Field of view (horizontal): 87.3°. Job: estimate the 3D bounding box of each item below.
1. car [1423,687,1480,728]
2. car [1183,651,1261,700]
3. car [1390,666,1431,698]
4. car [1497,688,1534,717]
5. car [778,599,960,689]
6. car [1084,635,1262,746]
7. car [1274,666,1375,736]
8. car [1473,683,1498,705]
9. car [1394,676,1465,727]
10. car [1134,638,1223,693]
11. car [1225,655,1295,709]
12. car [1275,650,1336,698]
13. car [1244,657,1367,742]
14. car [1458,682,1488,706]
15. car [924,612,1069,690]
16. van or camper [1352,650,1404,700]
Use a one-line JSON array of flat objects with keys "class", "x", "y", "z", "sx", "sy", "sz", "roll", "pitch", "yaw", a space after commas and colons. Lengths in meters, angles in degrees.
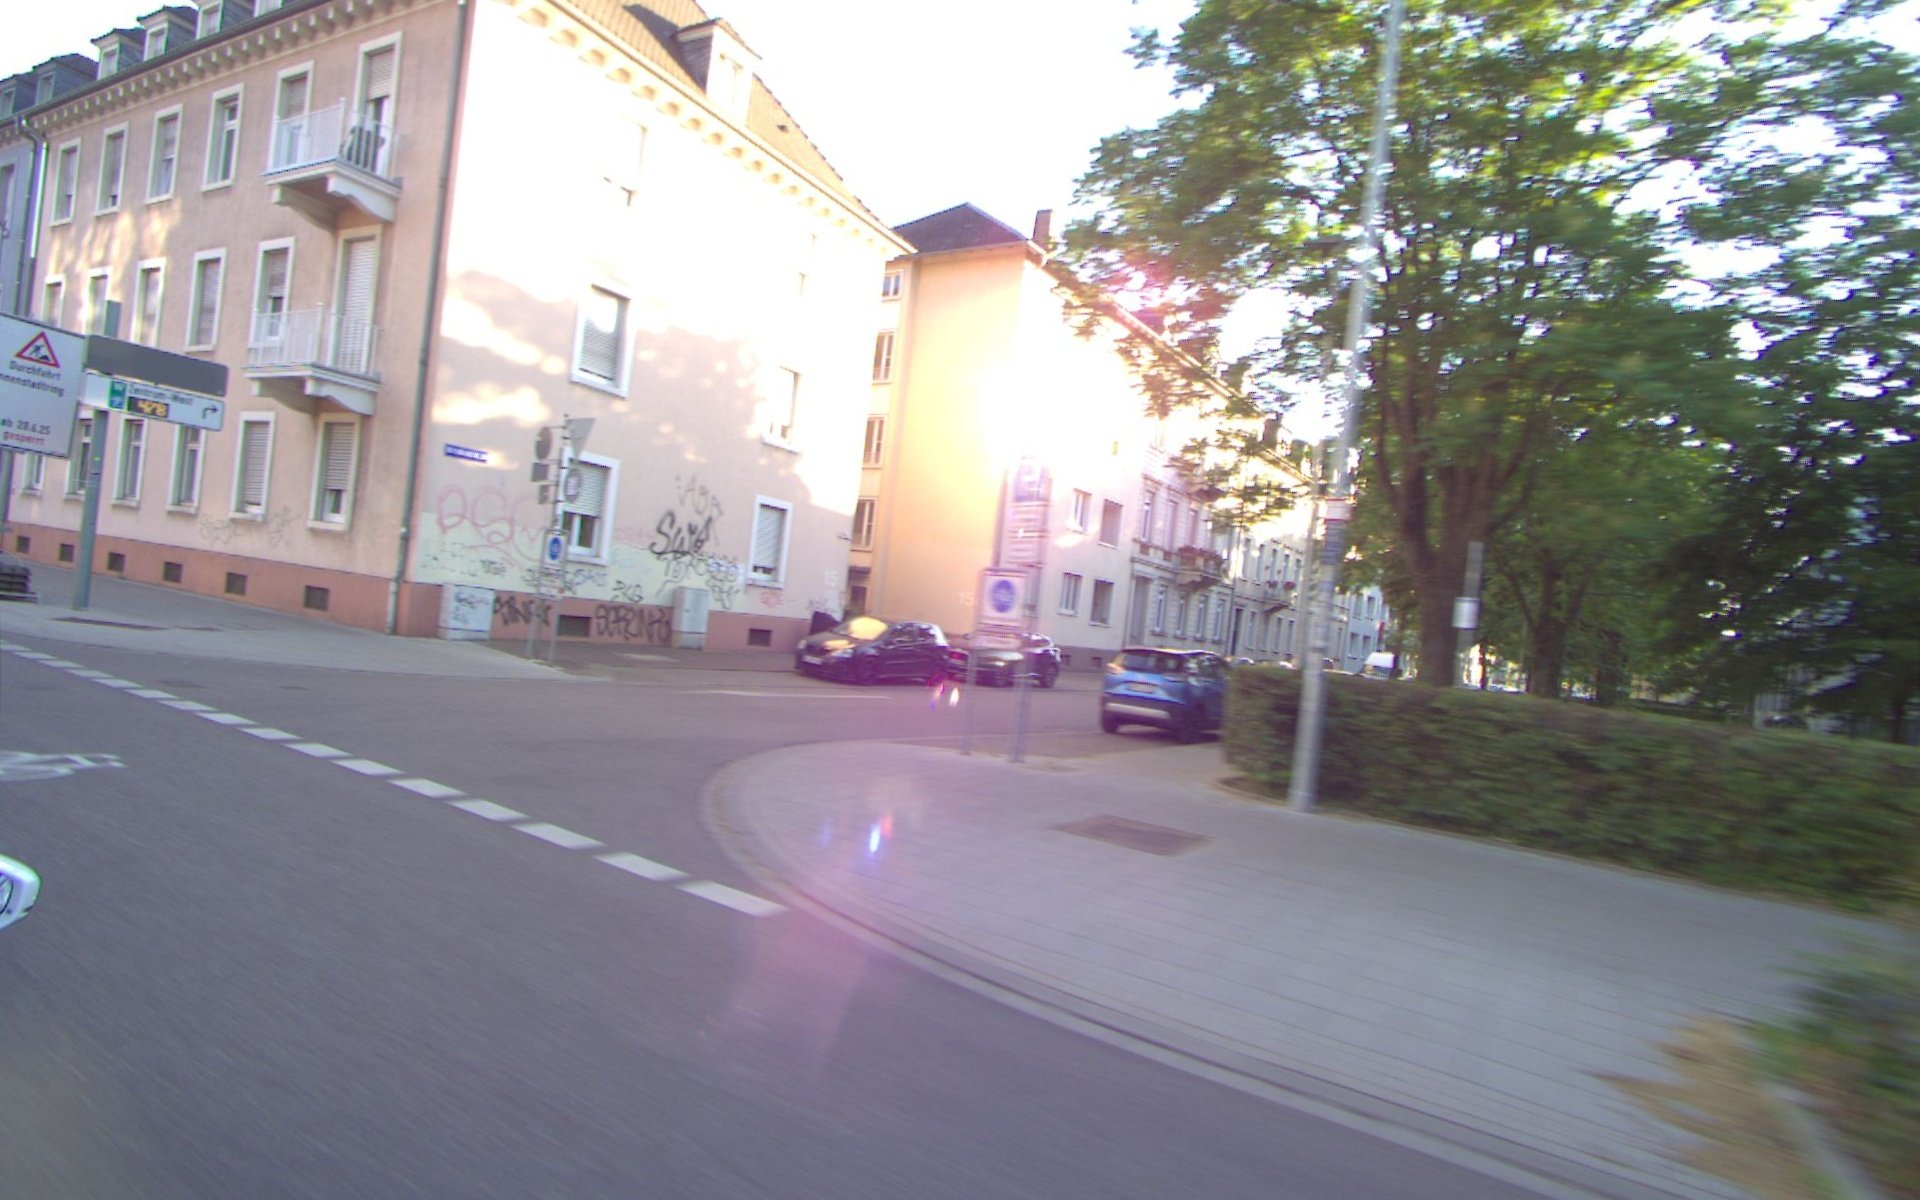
[{"class": "car", "x": 21.886, "y": 4.764, "z": 44.756, "sx": 1.732, "sy": 1.555, "sz": 3.710, "roll": 5, "pitch": -1, "yaw": 33}, {"class": "car", "x": 10.647, "y": 3.076, "z": 40.666, "sx": 1.807, "sy": 1.643, "sz": 3.993, "roll": 8, "pitch": 0, "yaw": 32}, {"class": "car", "x": 33.775, "y": 6.150, "z": 75.413, "sx": 1.968, "sy": 2.037, "sz": 3.991, "roll": 6, "pitch": -1, "yaw": 34}, {"class": "car", "x": 35.332, "y": 6.494, "z": 63.952, "sx": 1.732, "sy": 1.555, "sz": 3.710, "roll": 5, "pitch": -1, "yaw": 33}, {"class": "car", "x": -1.928, "y": 1.030, "z": 22.437, "sx": 1.808, "sy": 1.575, "sz": 3.991, "roll": 8, "pitch": 0, "yaw": 34}, {"class": "car", "x": 3.963, "y": 1.618, "z": 18.211, "sx": 1.842, "sy": 1.599, "sz": 3.922, "roll": 5, "pitch": -1, "yaw": 31}, {"class": "car", "x": 9.957, "y": 2.708, "z": 27.343, "sx": 1.731, "sy": 1.555, "sz": 3.922, "roll": 5, "pitch": -1, "yaw": 31}, {"class": "car", "x": 58.269, "y": 10.434, "z": 111.474, "sx": 1.968, "sy": 2.037, "sz": 3.993, "roll": 6, "pitch": -2, "yaw": 33}, {"class": "car", "x": 17.035, "y": 3.649, "z": 36.403, "sx": 1.732, "sy": 1.555, "sz": 3.710, "roll": 5, "pitch": -1, "yaw": 33}, {"class": "car", "x": 8.039, "y": 2.412, "z": 36.763, "sx": 1.807, "sy": 1.643, "sz": 3.993, "roll": 8, "pitch": 0, "yaw": 31}, {"class": "car", "x": 13.423, "y": 3.678, "z": 44.934, "sx": 1.966, "sy": 2.037, "sz": 3.997, "roll": 6, "pitch": -2, "yaw": 30}, {"class": "car", "x": 17.262, "y": 3.705, "z": 50.189, "sx": 1.807, "sy": 2.064, "sz": 3.993, "roll": 8, "pitch": 0, "yaw": 32}, {"class": "car", "x": 8.220, "y": 2.308, "z": 23.739, "sx": 1.842, "sy": 1.639, "sz": 3.922, "roll": 5, "pitch": -1, "yaw": 31}, {"class": "car", "x": 49.510, "y": 9.095, "z": 97.099, "sx": 1.968, "sy": 2.037, "sz": 3.991, "roll": 6, "pitch": -1, "yaw": 34}, {"class": "car", "x": 1.062, "y": 1.398, "z": 26.838, "sx": 1.809, "sy": 1.643, "sz": 3.989, "roll": 8, "pitch": 0, "yaw": 36}, {"class": "van or camper", "x": 26.751, "y": 4.839, "z": 64.261, "sx": 1.978, "sy": 2.782, "sz": 5.193, "roll": 8, "pitch": 0, "yaw": 32}]
